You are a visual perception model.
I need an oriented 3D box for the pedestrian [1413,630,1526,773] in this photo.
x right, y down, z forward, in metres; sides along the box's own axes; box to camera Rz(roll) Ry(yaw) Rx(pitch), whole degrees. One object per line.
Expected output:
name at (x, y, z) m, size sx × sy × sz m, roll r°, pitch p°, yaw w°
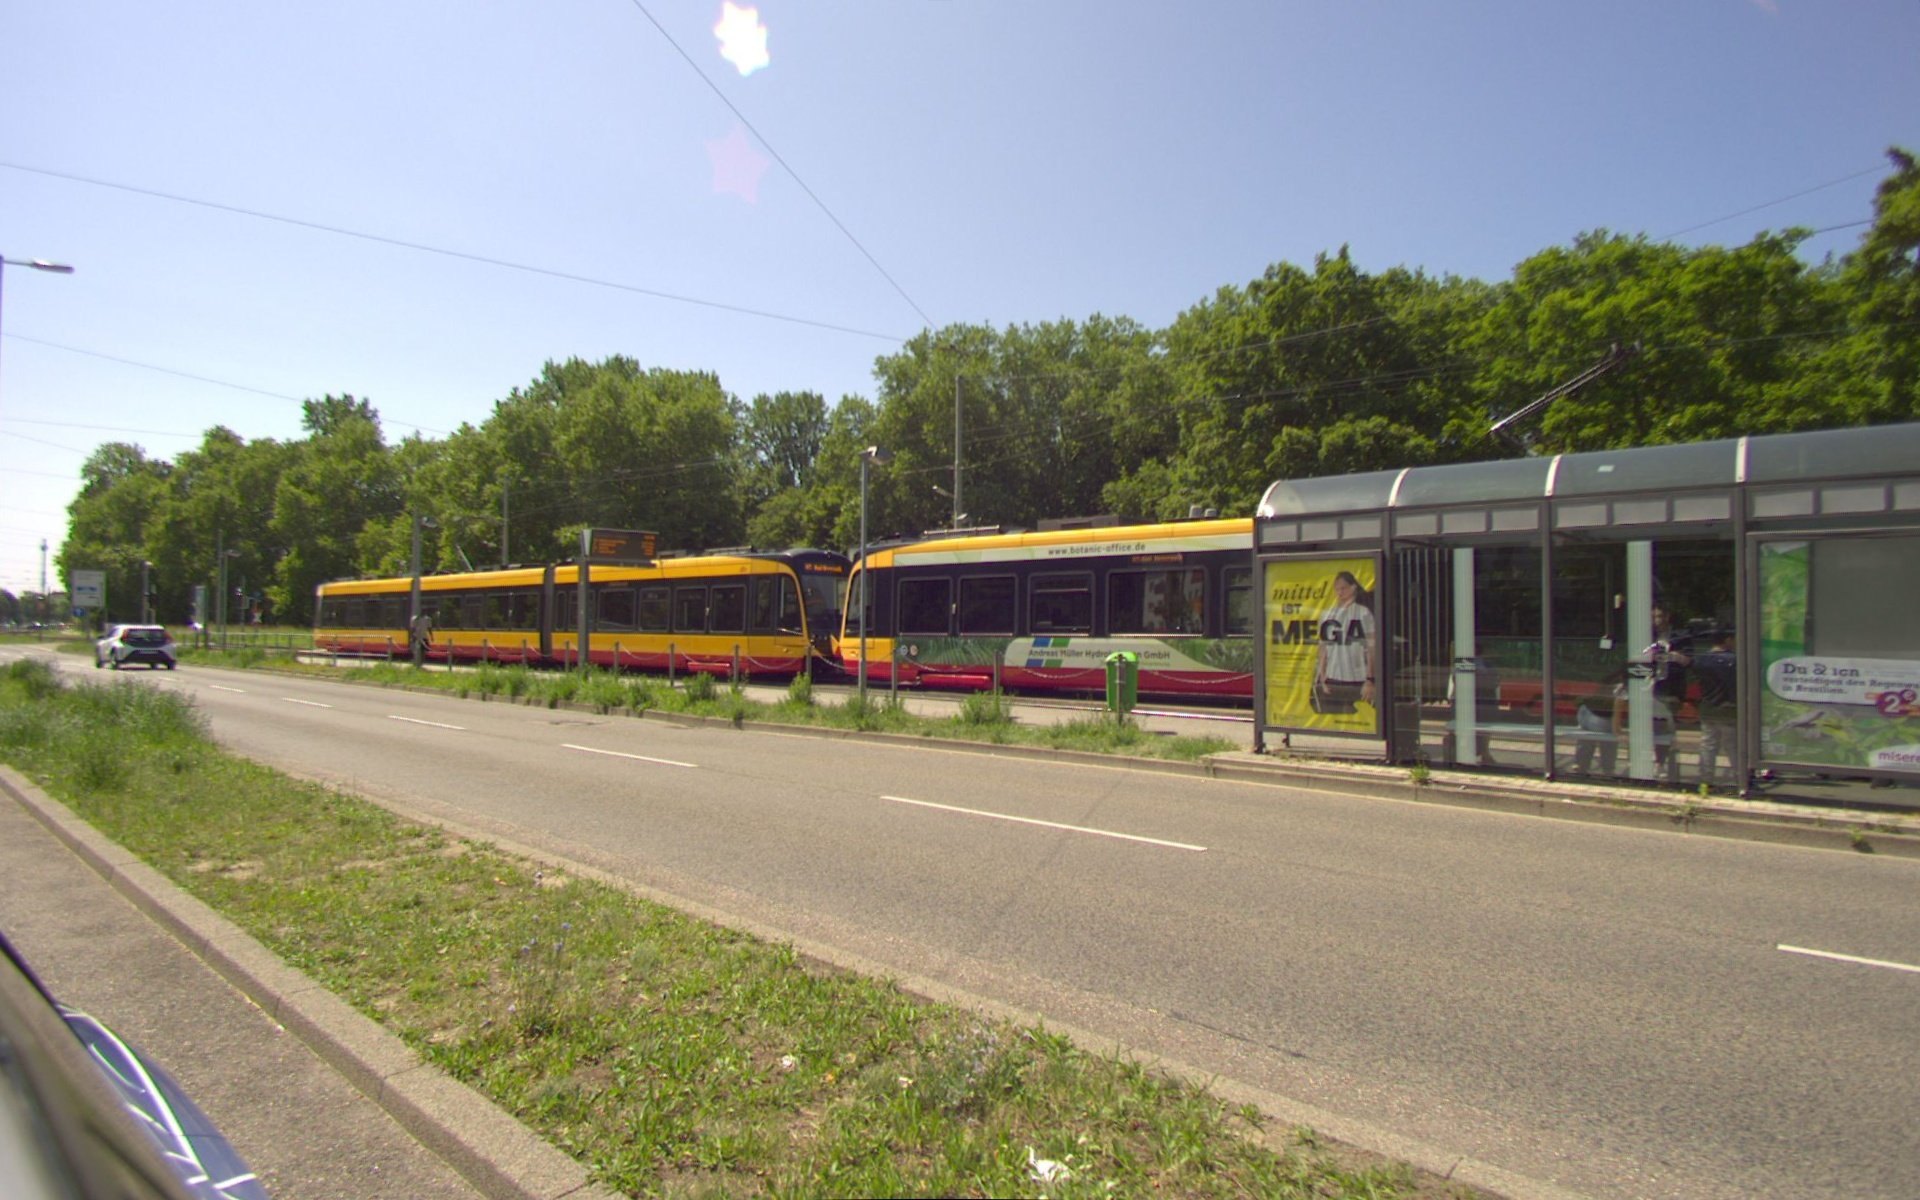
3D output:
pedestrian at (4.965, 0.953, 9.857) m, size 0.839 × 1.293 × 0.694 m, roll -2°, pitch -1°, yaw 39°

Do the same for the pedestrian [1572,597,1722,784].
pedestrian at (6.174, 0.764, 9.096) m, size 1.025 × 1.558 × 0.865 m, roll -2°, pitch -1°, yaw 39°

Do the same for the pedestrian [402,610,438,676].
pedestrian at (-15.133, 1.200, 28.363) m, size 0.775 × 1.805 × 0.625 m, roll -2°, pitch -1°, yaw 39°

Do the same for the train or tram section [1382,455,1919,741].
train or tram section at (12.779, -0.023, 14.346) m, size 12.382 × 3.652 × 3.027 m, roll -1°, pitch -1°, yaw 26°

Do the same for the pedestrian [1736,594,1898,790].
pedestrian at (7.333, 0.736, 8.716) m, size 0.984 × 1.558 × 0.921 m, roll -2°, pitch -1°, yaw 39°

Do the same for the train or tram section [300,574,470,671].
train or tram section at (-26.187, 1.015, 45.704) m, size 11.533 × 3.884 × 2.920 m, roll -2°, pitch -1°, yaw 41°

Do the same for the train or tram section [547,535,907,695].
train or tram section at (-7.355, 0.484, 29.458) m, size 13.254 × 3.795 × 3.012 m, roll -2°, pitch -1°, yaw 41°

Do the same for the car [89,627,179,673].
car at (-28.613, 1.696, 35.029) m, size 3.717 × 1.516 × 1.751 m, roll -1°, pitch -2°, yaw 40°

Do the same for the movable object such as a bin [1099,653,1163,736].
movable object such as a bin at (2.142, 1.174, 12.708) m, size 0.644 × 0.985 × 0.477 m, roll -1°, pitch -2°, yaw 37°

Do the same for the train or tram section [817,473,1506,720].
train or tram section at (2.988, 0.083, 20.518) m, size 13.881 × 3.652 × 3.014 m, roll -2°, pitch -1°, yaw 39°

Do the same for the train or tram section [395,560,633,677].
train or tram section at (-17.056, 0.721, 37.890) m, size 12.587 × 3.770 × 3.012 m, roll -2°, pitch -1°, yaw 41°
